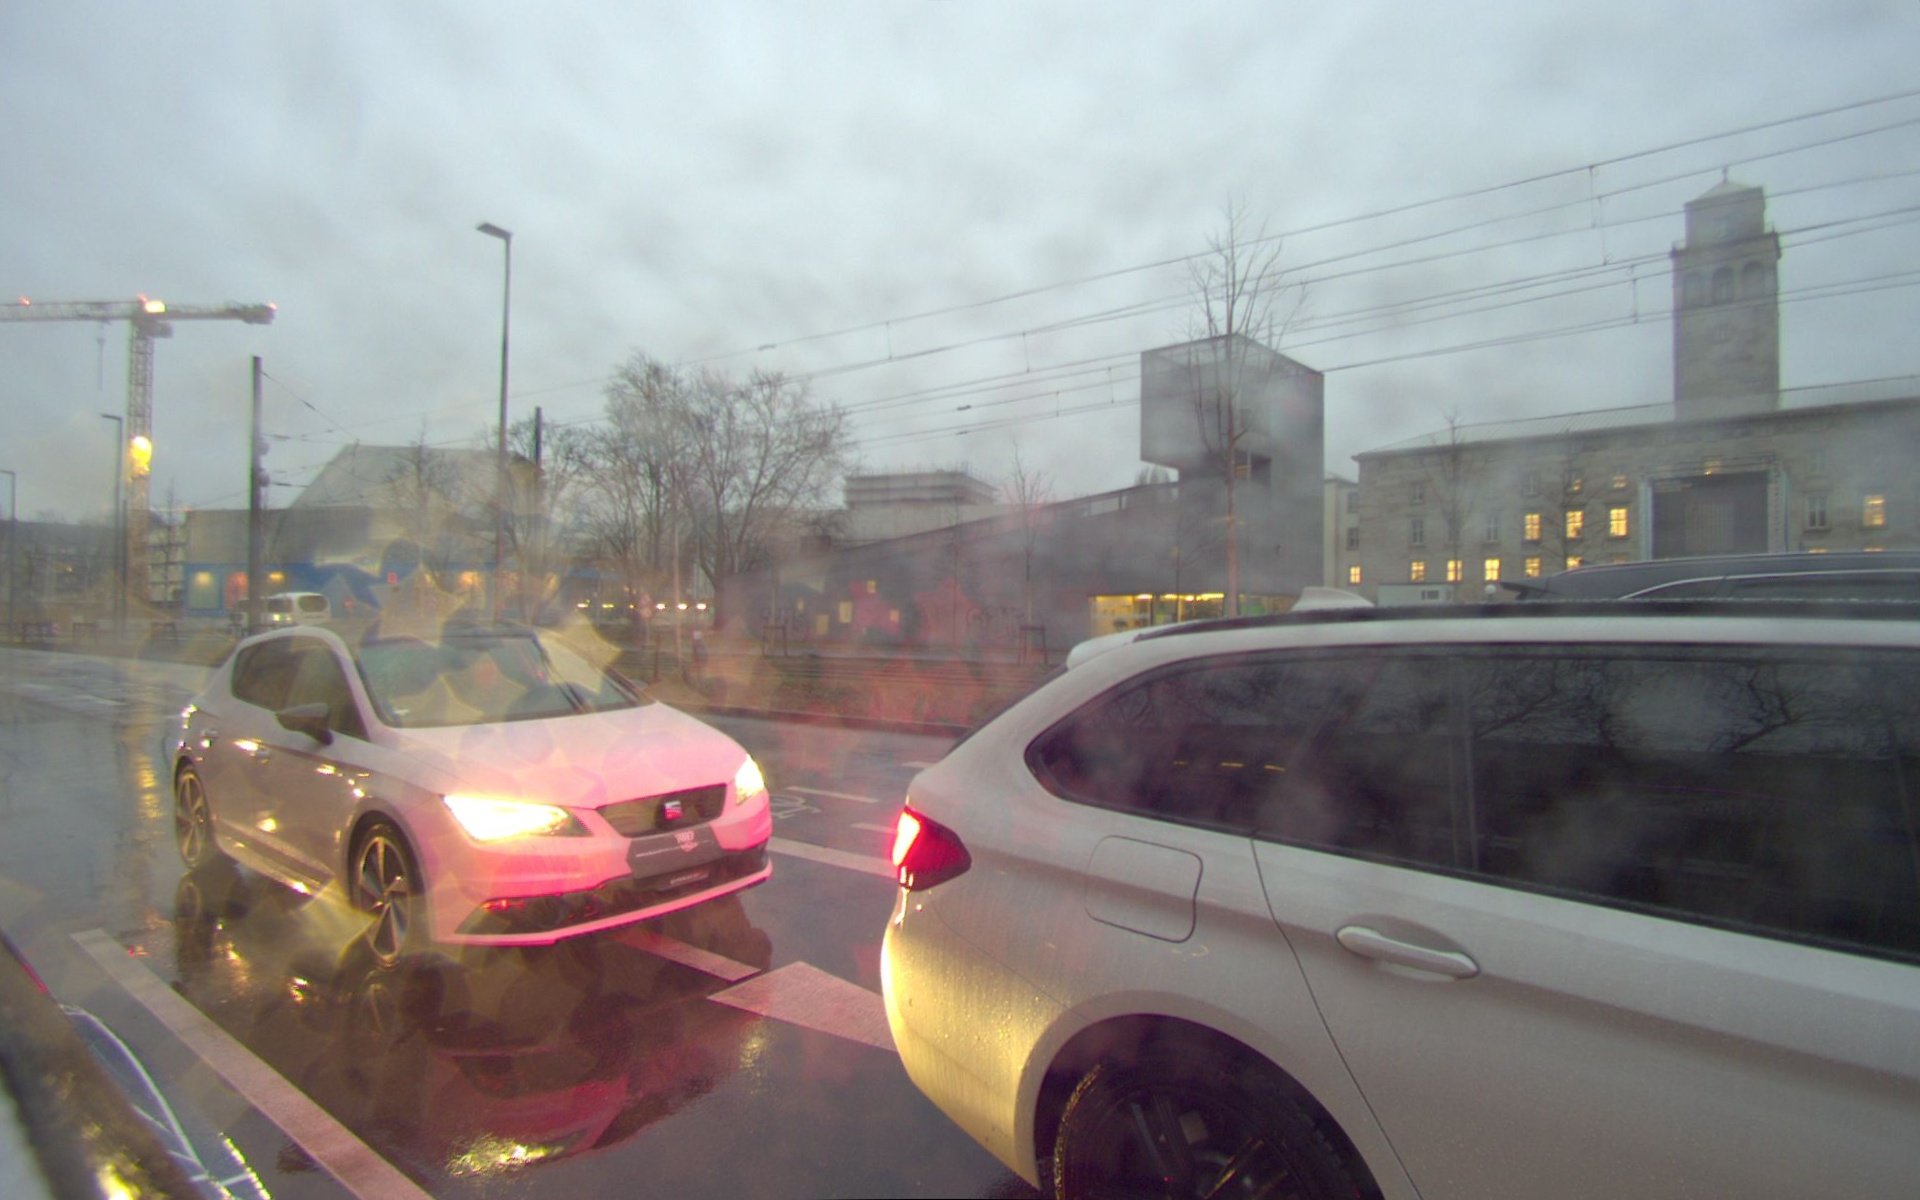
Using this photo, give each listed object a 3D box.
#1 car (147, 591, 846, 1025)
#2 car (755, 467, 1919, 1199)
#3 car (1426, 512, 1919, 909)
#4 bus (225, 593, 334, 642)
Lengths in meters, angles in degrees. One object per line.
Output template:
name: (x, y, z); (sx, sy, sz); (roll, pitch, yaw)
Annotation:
car: (-2.701, 0.745, 5.457); (4.124, 1.486, 1.757); (-1, -1, 38)
car: (1.963, 0.624, 1.730); (4.919, 1.532, 1.890); (-1, -2, 40)
car: (4.976, 0.503, 5.010); (4.605, 1.756, 1.686); (-1, -2, 38)
bus: (-53.305, 1.379, 79.045); (12.277, 3.605, 2.783); (-1, -2, 35)
